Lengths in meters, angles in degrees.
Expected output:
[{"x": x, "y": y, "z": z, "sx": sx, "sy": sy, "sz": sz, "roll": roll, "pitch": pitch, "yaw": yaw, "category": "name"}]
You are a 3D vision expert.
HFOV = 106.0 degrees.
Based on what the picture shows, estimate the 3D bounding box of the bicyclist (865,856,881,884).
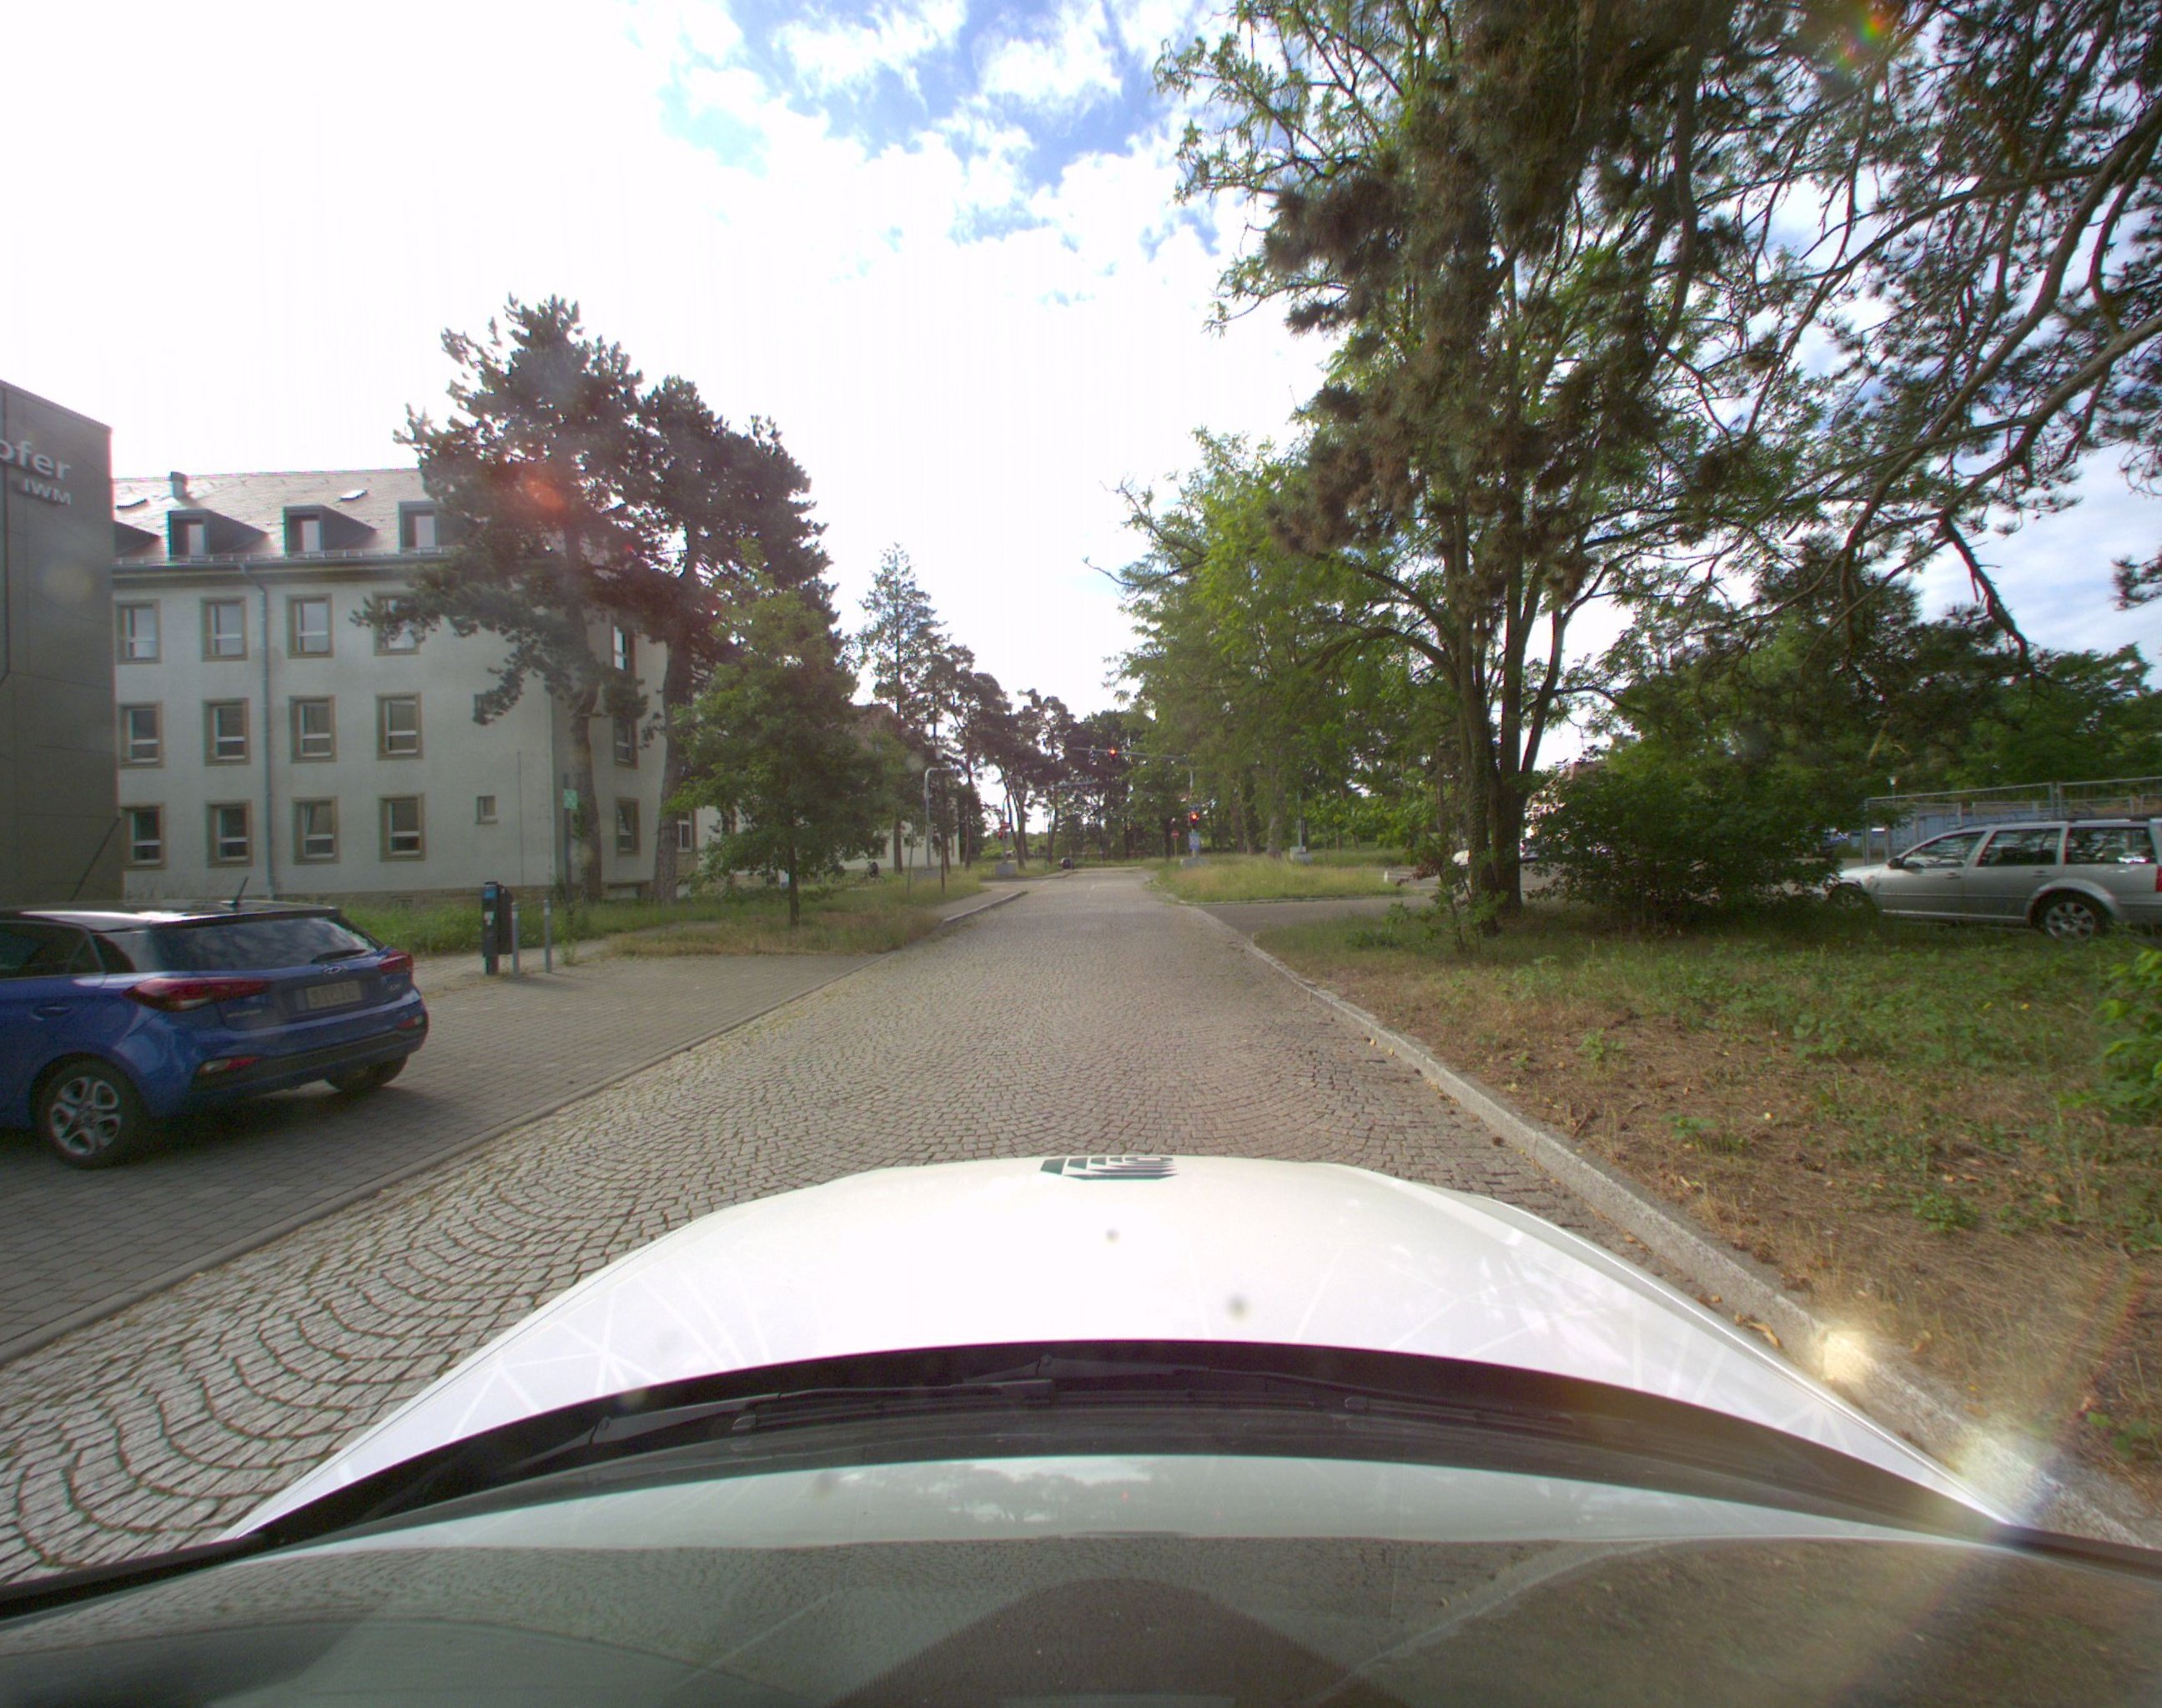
[{"x": -13.157, "y": 1.018, "z": 51.585, "sx": 0.921, "sy": 1.697, "sz": 0.952, "roll": -2, "pitch": -1, "yaw": -13, "category": "bicyclist"}]

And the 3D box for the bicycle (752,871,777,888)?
[{"x": -21.654, "y": 1.714, "z": 55.815, "sx": 0.733, "sy": 1.076, "sz": 2.274, "roll": -2, "pitch": 0, "yaw": 2, "category": "bicycle"}]

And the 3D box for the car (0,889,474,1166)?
[{"x": -6.739, "y": 1.035, "z": 5.631, "sx": 3.748, "sy": 1.478, "sz": 1.854, "roll": -1, "pitch": 0, "yaw": 4, "category": "car"}]

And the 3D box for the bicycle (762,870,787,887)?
[{"x": -20.926, "y": 1.692, "z": 55.726, "sx": 0.733, "sy": 1.076, "sz": 2.274, "roll": -2, "pitch": 0, "yaw": 2, "category": "bicycle"}]

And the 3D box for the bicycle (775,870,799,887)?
[{"x": -20.264, "y": 1.696, "z": 56.204, "sx": 0.733, "sy": 1.076, "sz": 2.274, "roll": -2, "pitch": 0, "yaw": 2, "category": "bicycle"}]

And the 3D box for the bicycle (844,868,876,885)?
[{"x": -14.775, "y": 1.507, "z": 54.478, "sx": 1.848, "sy": 1.076, "sz": 0.832, "roll": -2, "pitch": 0, "yaw": 3, "category": "bicycle"}]

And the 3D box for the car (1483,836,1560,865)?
[{"x": 25.608, "y": -0.141, "z": 47.511, "sx": 1.988, "sy": 1.481, "sz": 4.422, "roll": -2, "pitch": -2, "yaw": -2, "category": "car"}]

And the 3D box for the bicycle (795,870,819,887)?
[{"x": -18.739, "y": 1.657, "z": 55.703, "sx": 0.733, "sy": 1.076, "sz": 2.274, "roll": -2, "pitch": 0, "yaw": 2, "category": "bicycle"}]

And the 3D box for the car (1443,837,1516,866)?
[{"x": 23.093, "y": -0.114, "z": 47.390, "sx": 1.988, "sy": 1.481, "sz": 4.422, "roll": -2, "pitch": -2, "yaw": -2, "category": "car"}]

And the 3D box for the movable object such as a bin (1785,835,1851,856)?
[{"x": 31.486, "y": -0.351, "z": 34.829, "sx": 1.179, "sy": 0.825, "sz": 1.957, "roll": -2, "pitch": 0, "yaw": 6, "category": "movable object such as a bin"}]

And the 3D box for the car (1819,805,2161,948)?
[{"x": 11.616, "y": 0.239, "z": 9.907, "sx": 1.640, "sy": 1.427, "sz": 4.073, "roll": 1, "pitch": 0, "yaw": 1, "category": "car"}]

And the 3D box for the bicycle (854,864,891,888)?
[{"x": -13.187, "y": 1.395, "z": 51.568, "sx": 2.182, "sy": 1.387, "sz": 0.934, "roll": -2, "pitch": 0, "yaw": -15, "category": "bicycle"}]

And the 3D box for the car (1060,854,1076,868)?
[{"x": -1.781, "y": 0.929, "z": 111.548, "sx": 2.048, "sy": 1.846, "sz": 4.001, "roll": -2, "pitch": 0, "yaw": 1, "category": "car"}]

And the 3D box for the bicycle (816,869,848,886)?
[{"x": -16.658, "y": 1.564, "z": 54.483, "sx": 1.848, "sy": 1.076, "sz": 0.739, "roll": -2, "pitch": 0, "yaw": 3, "category": "bicycle"}]

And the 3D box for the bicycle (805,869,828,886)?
[{"x": -18.097, "y": 1.629, "z": 55.769, "sx": 0.733, "sy": 1.076, "sz": 2.274, "roll": -2, "pitch": 0, "yaw": 2, "category": "bicycle"}]

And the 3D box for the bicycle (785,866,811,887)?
[{"x": -19.474, "y": 1.537, "z": 56.077, "sx": 0.733, "sy": 1.385, "sz": 2.713, "roll": -2, "pitch": 0, "yaw": 2, "category": "bicycle"}]
